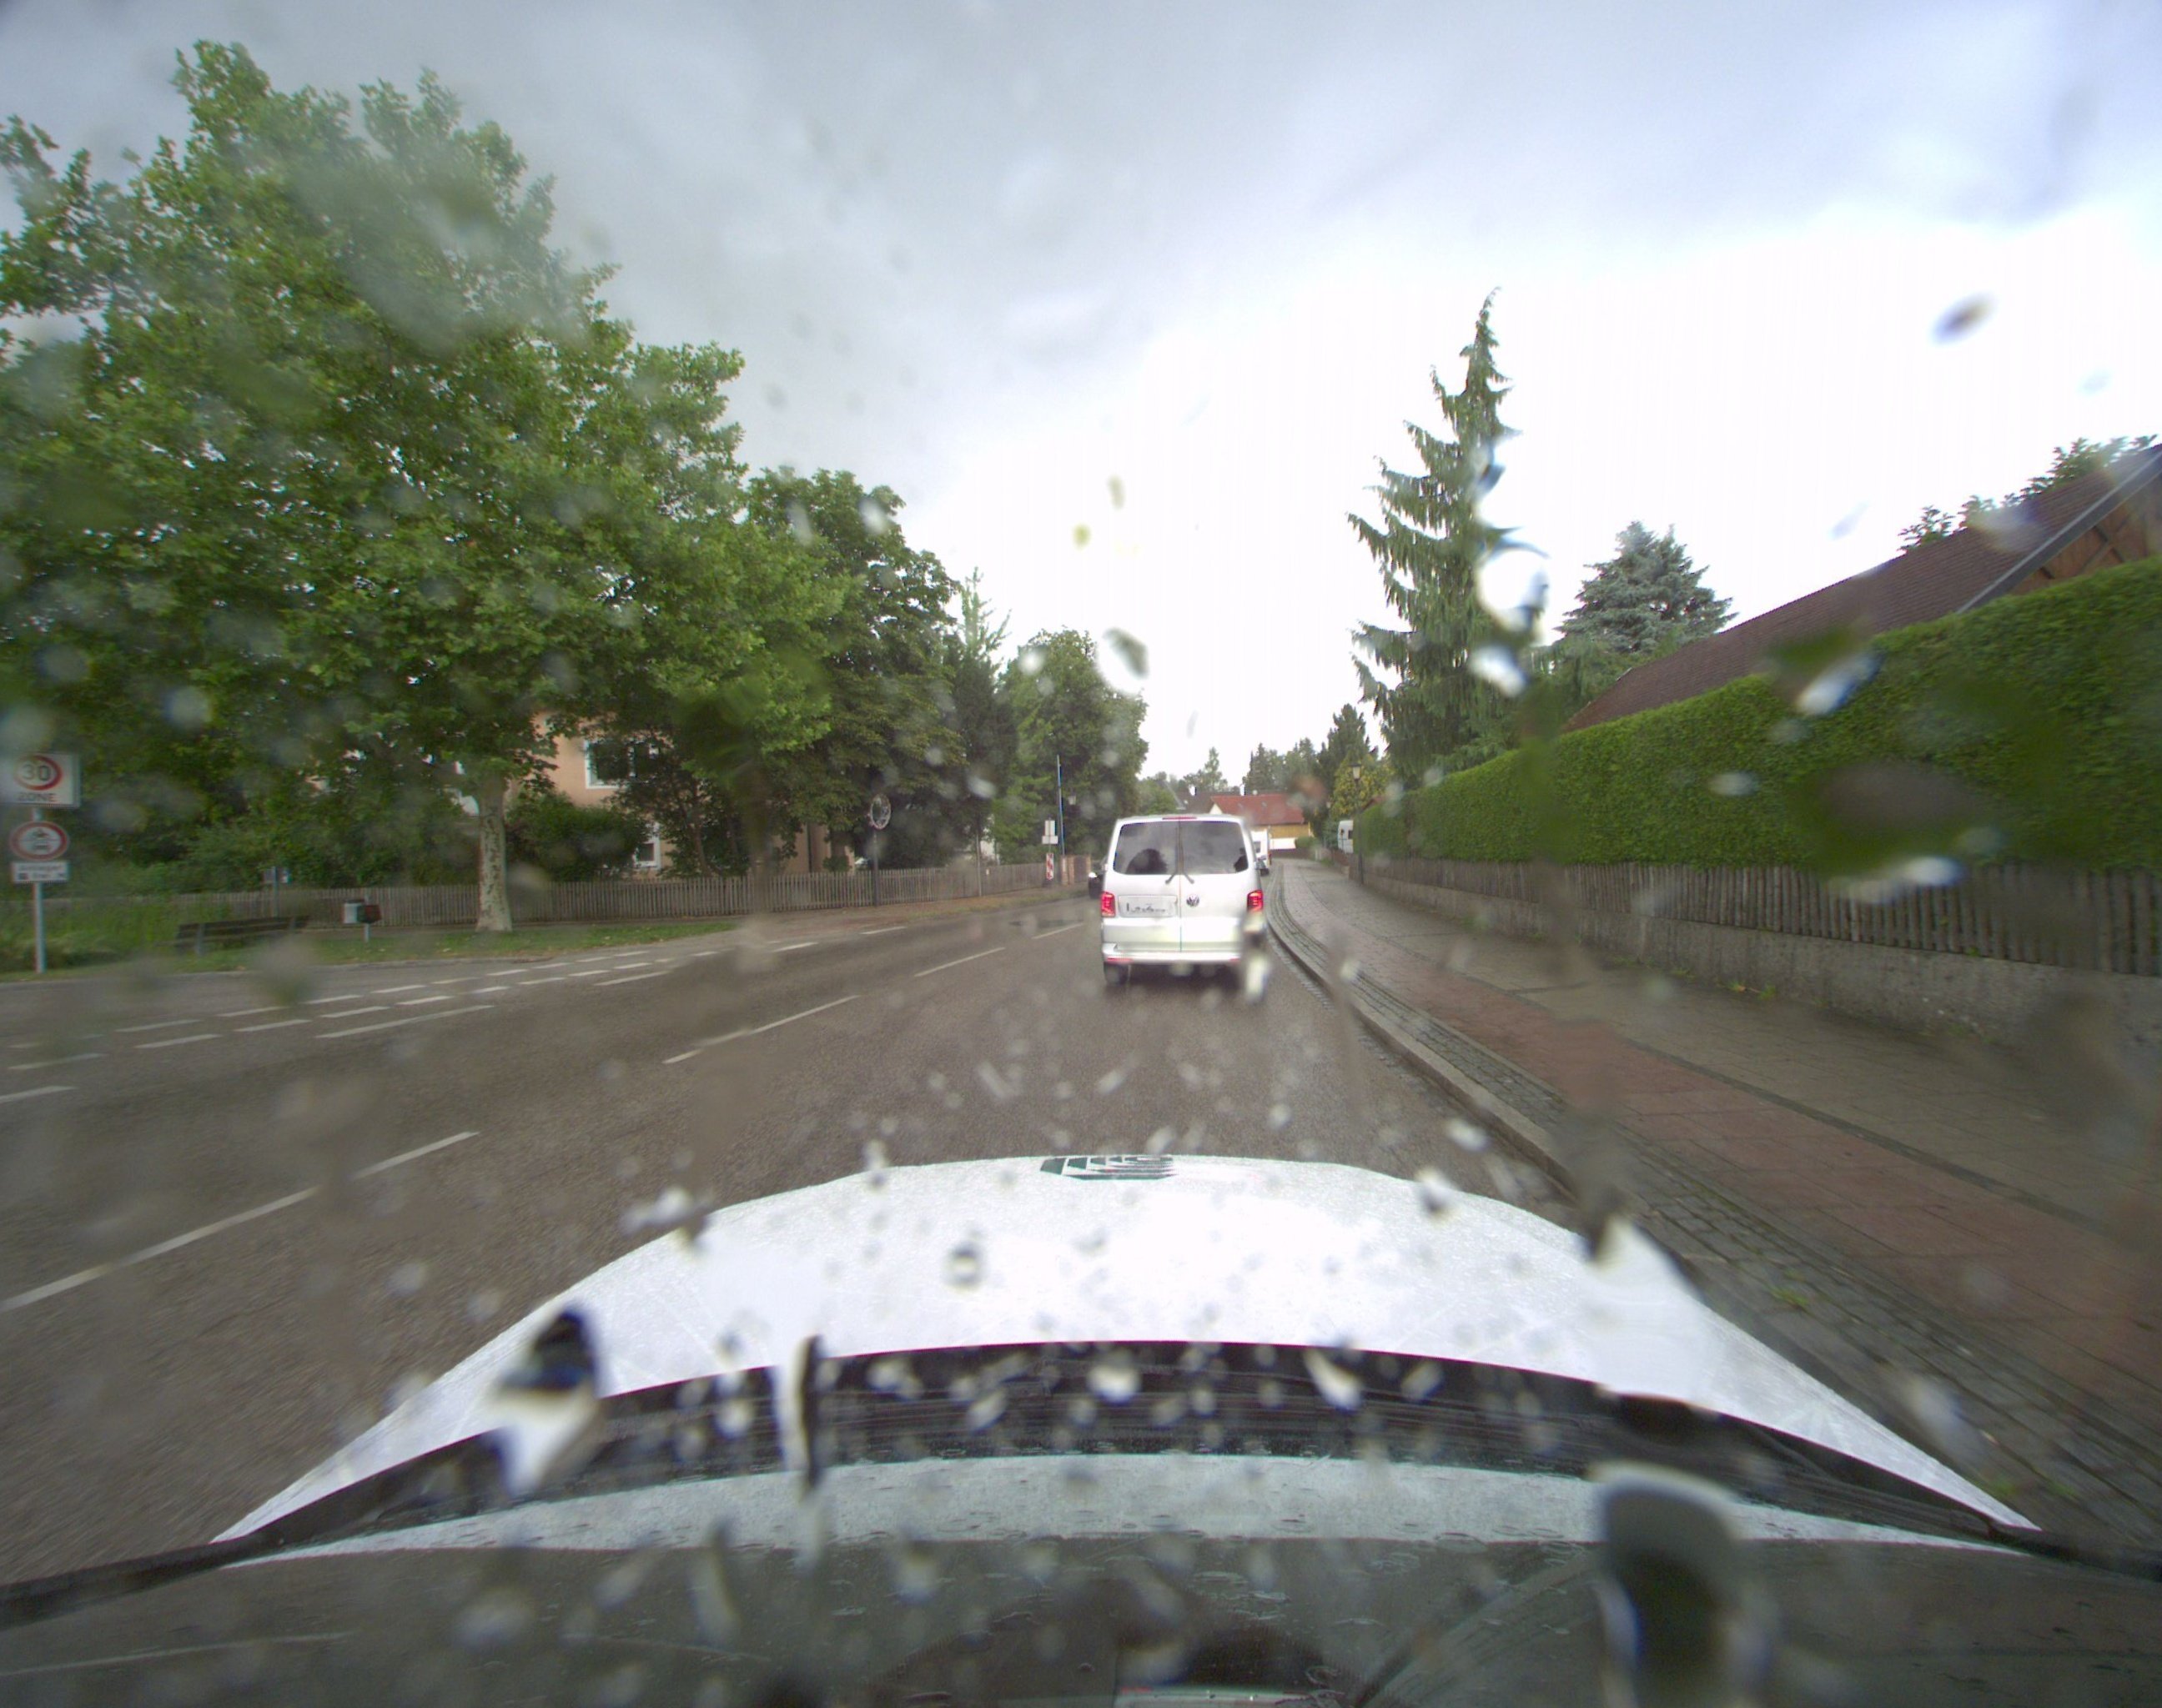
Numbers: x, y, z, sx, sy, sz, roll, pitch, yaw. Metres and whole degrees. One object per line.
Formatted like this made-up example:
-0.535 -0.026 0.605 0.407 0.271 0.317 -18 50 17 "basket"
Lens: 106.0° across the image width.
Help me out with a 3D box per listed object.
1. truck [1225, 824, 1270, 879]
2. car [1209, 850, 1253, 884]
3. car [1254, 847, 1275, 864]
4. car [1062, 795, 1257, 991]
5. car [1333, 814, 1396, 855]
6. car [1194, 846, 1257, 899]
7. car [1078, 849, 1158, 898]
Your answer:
10.159 -0.120 49.269 2.458 3.074 6.318 -1 -1 13 "truck"
7.120 0.587 38.408 1.788 1.508 4.014 -1 -1 13 "car"
16.969 0.190 75.238 1.788 1.508 4.014 -1 -1 13 "car"
1.219 0.420 10.552 1.787 2.014 4.017 -1 -1 16 "car"
16.344 -1.078 47.242 1.987 2.173 4.952 0 -1 0 "car"
4.795 0.580 26.647 1.788 1.588 4.014 -1 -1 13 "car"
1.388 0.623 28.649 1.979 1.595 4.207 -1 0 14 "car"
